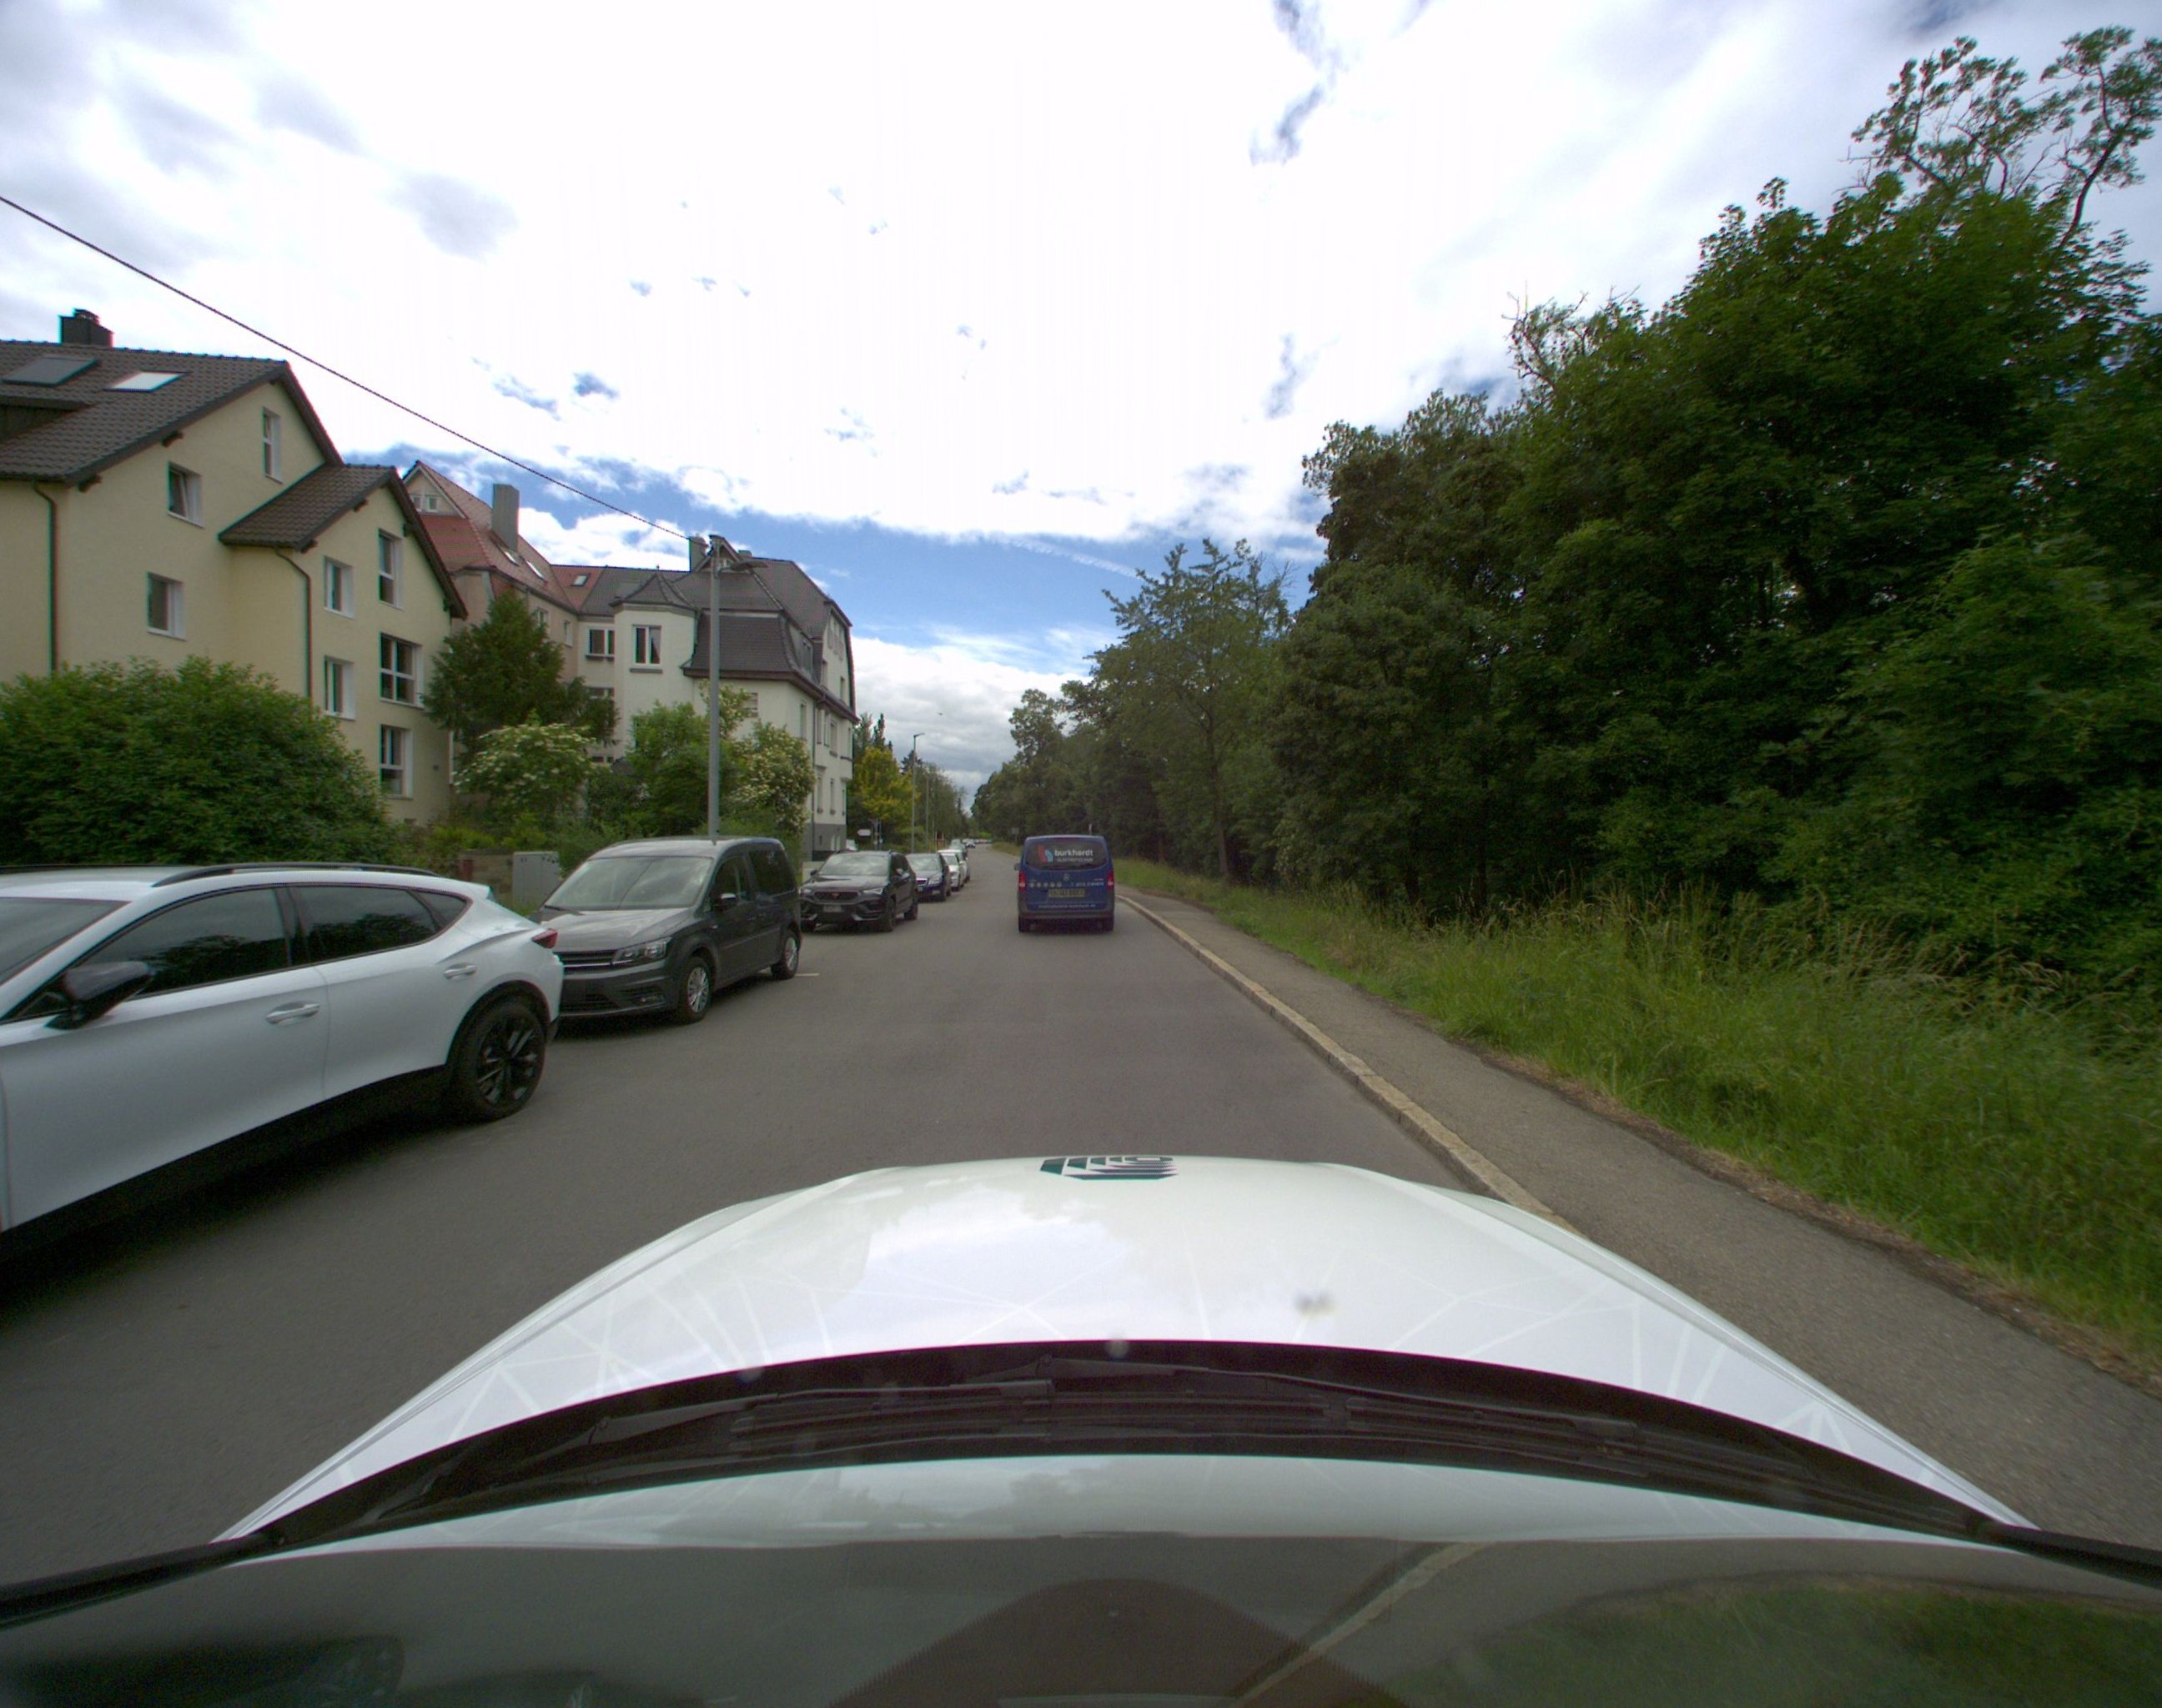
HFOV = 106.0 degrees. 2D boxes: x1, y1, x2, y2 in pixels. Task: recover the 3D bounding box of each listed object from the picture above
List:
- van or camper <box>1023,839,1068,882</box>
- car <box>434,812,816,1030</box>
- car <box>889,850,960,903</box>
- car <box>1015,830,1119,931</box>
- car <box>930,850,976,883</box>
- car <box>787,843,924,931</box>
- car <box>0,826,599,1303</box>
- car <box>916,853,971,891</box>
[{"bbox_3d":[-1.812,0.253,40.398,2.015,1.956,4.889,-2,1,-4],"label":"van or camper"},{"bbox_3d":[-4.444,0.552,8.880,1.739,1.764,4.410,1,0,-2],"label":"car"},{"bbox_3d":[-4.877,0.640,25.810,1.603,1.513,3.854,0,1,-2],"label":"car"},{"bbox_3d":[-0.347,0.502,17.064,1.909,1.838,4.289,0,-1,-3],"label":"car"},{"bbox_3d":[-5.862,0.531,37.614,1.603,1.408,3.854,0,1,-2],"label":"car"},{"bbox_3d":[-4.592,0.602,17.240,1.810,1.615,4.221,0,0,-2],"label":"car"},{"bbox_3d":[-4.230,0.646,3.441,1.719,1.492,4.413,1,0,0],"label":"car"},{"bbox_3d":[-5.238,0.648,31.452,1.603,1.342,3.853,0,1,-2],"label":"car"}]
